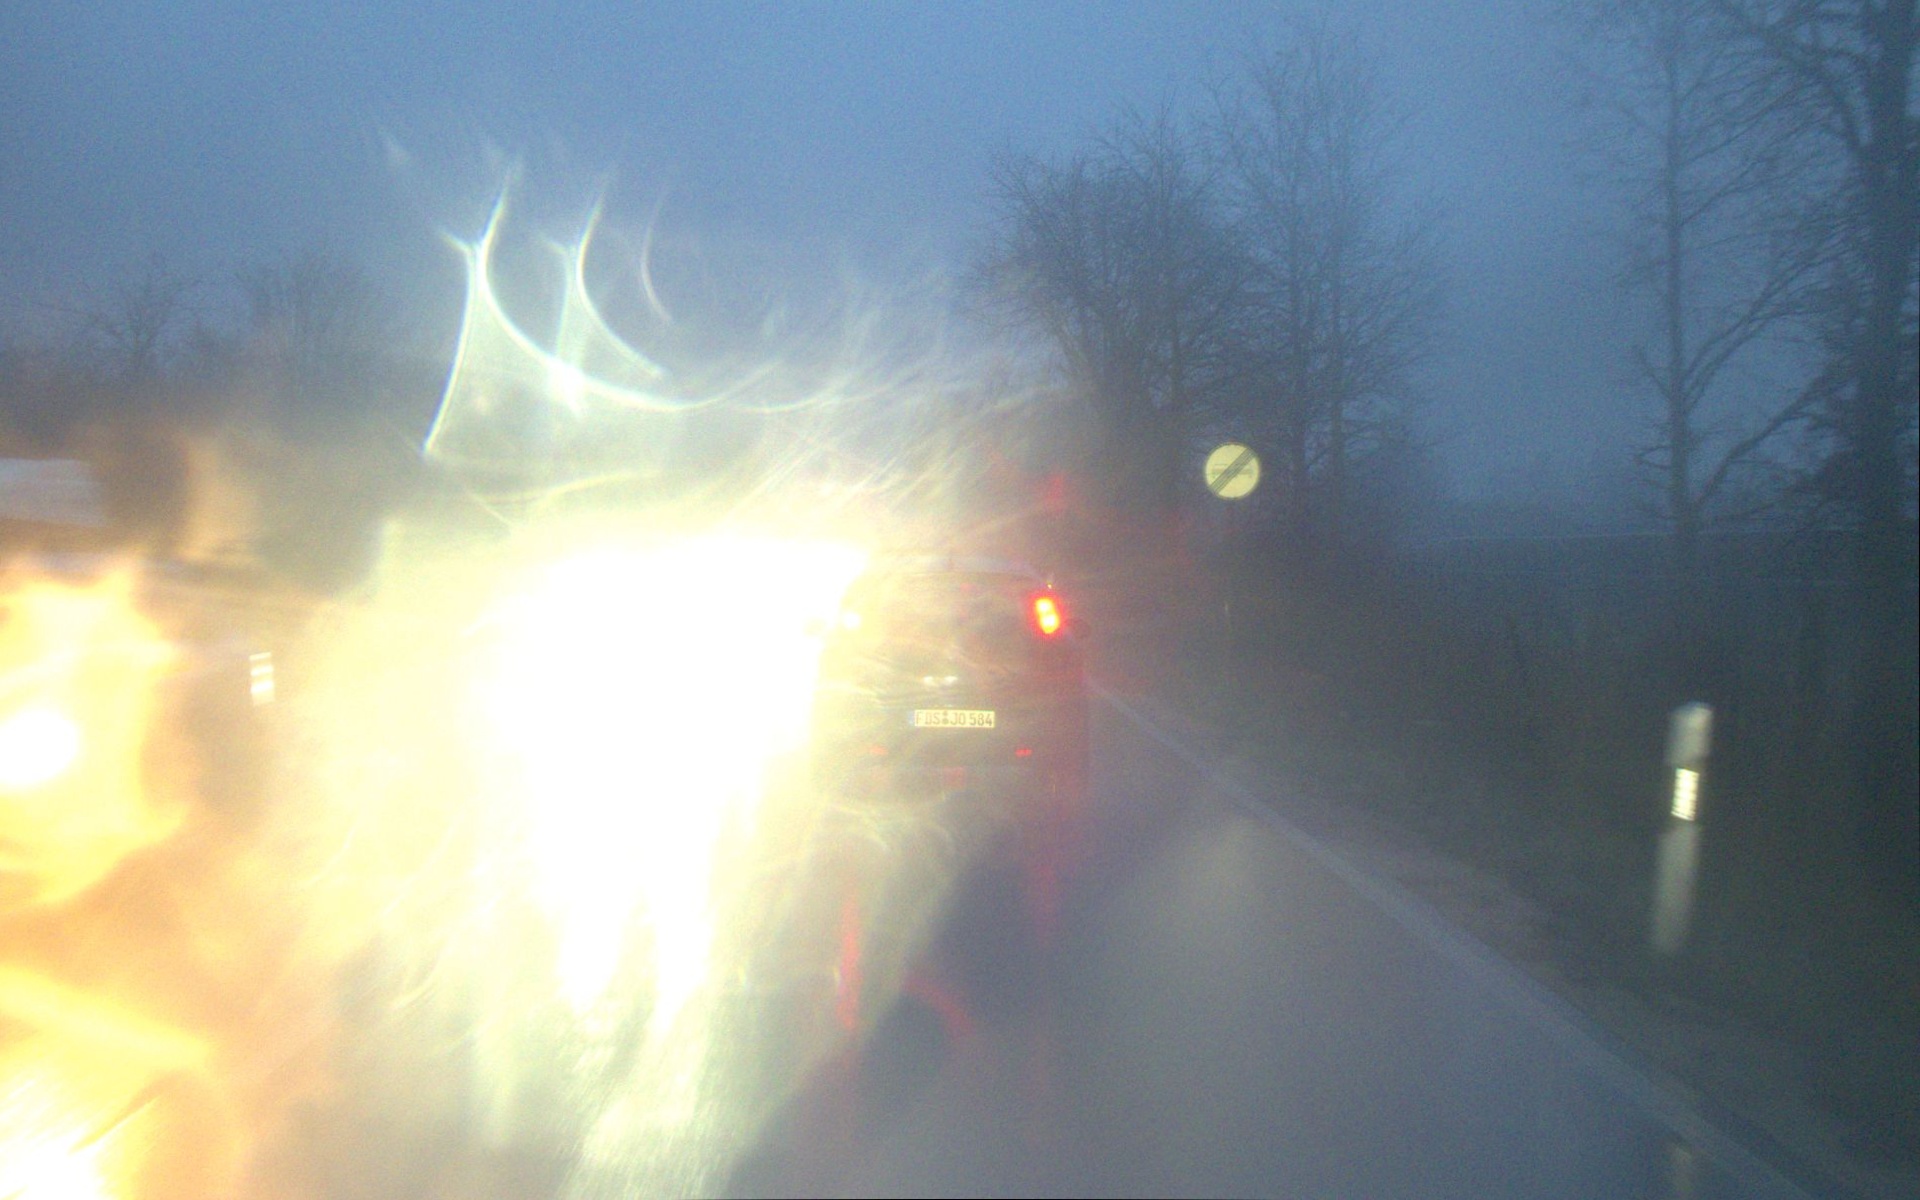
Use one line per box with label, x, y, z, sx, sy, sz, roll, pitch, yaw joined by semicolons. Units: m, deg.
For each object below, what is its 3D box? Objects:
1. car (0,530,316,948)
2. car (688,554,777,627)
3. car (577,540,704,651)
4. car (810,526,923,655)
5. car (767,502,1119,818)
car;-3.956;0.470;14.642;1.691;1.525;4.086;1;1;-1
car;-5.124;-0.238;78.000;1.779;1.590;4.693;0;1;-1
car;-4.905;-0.097;53.255;1.752;1.641;4.050;0;1;-3
car;-1.400;-0.162;52.453;1.574;1.868;3.709;1;1;0
car;-0.088;0.319;21.801;1.993;1.778;4.000;1;1;0
